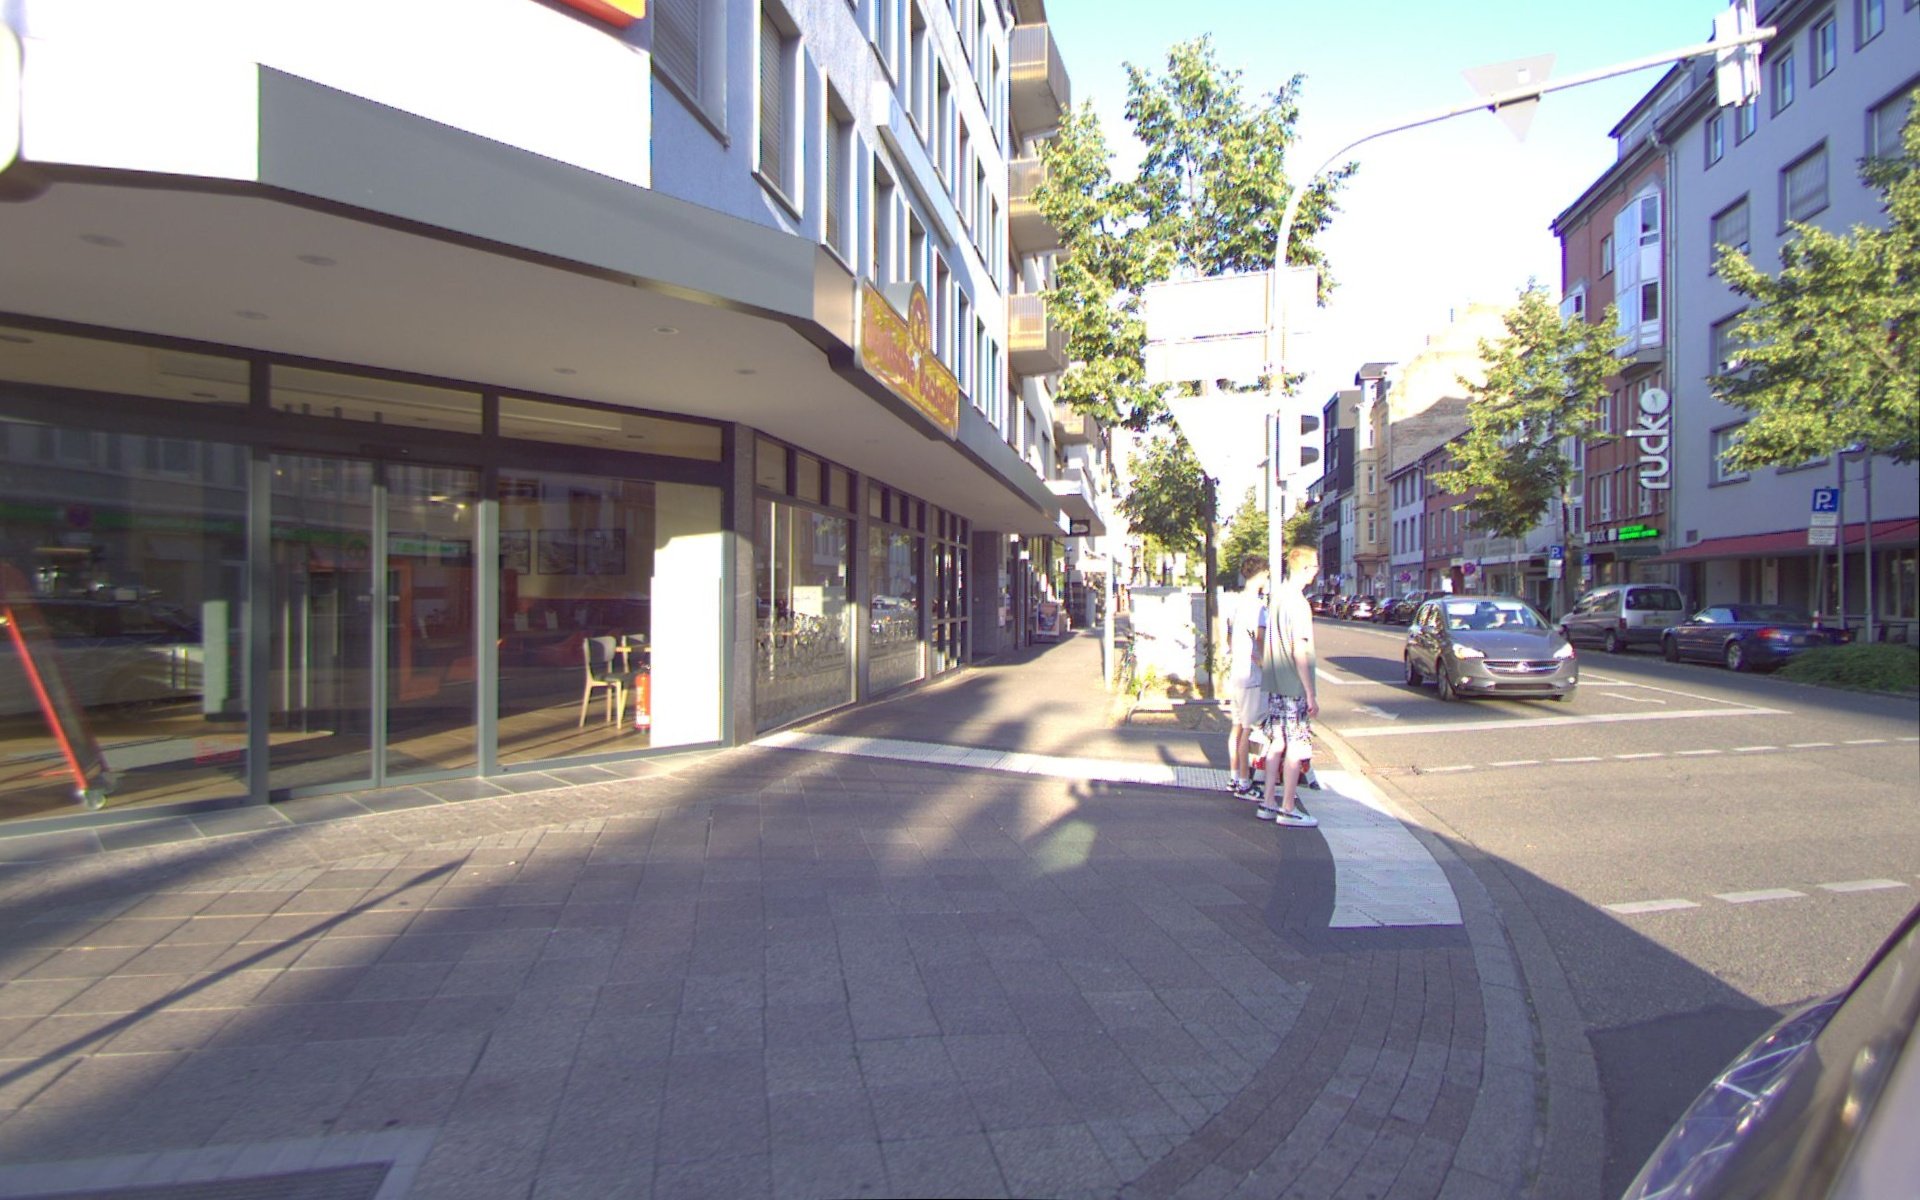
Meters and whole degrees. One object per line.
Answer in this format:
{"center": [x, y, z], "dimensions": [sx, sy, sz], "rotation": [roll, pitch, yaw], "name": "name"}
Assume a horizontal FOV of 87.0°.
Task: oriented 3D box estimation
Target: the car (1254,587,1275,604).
{"center": [32.752, -0.473, 108.932], "dimensions": [1.761, 1.795, 3.858], "rotation": [0, 0, 12], "name": "car"}

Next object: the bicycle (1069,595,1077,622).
{"center": [4.934, 0.364, 44.217], "dimensions": [0.326, 1.144, 2.008], "rotation": [0, 1, 8], "name": "bicycle"}

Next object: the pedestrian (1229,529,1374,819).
{"center": [2.251, 0.454, 6.727], "dimensions": [0.574, 1.795, 0.751], "rotation": [0, 0, -19], "name": "pedestrian"}

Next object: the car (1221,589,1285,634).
{"center": [10.026, 0.346, 34.910], "dimensions": [1.764, 1.386, 4.556], "rotation": [-1, 1, 12], "name": "car"}

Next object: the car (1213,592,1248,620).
{"center": [16.333, 0.361, 61.195], "dimensions": [1.665, 1.562, 3.721], "rotation": [-1, 1, 10], "name": "car"}

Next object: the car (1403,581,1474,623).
{"center": [22.733, 0.104, 48.269], "dimensions": [1.943, 1.908, 4.929], "rotation": [0, 0, 12], "name": "car"}

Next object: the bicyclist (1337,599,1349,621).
{"center": [23.147, 0.595, 61.129], "dimensions": [0.560, 1.319, 0.659], "rotation": [-1, 0, 11], "name": "bicyclist"}

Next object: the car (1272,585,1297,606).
{"center": [29.172, -0.421, 90.987], "dimensions": [1.739, 1.795, 3.858], "rotation": [0, 0, 12], "name": "car"}

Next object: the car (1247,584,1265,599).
{"center": [34.498, -0.988, 118.100], "dimensions": [1.739, 1.795, 3.858], "rotation": [0, 0, 12], "name": "car"}

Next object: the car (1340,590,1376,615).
{"center": [26.607, 0.144, 67.727], "dimensions": [1.661, 1.610, 3.504], "rotation": [0, 1, 12], "name": "car"}

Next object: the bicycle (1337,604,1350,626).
{"center": [23.151, 0.881, 61.134], "dimensions": [0.414, 1.252, 1.690], "rotation": [-1, 1, 9], "name": "bicycle"}

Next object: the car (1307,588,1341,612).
{"center": [27.380, -0.029, 76.226], "dimensions": [1.853, 1.698, 4.024], "rotation": [-1, 1, 12], "name": "car"}

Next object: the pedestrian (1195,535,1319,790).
{"center": [2.193, 0.435, 7.538], "dimensions": [0.626, 1.795, 0.751], "rotation": [0, 0, -8], "name": "pedestrian"}

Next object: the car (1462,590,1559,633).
{"center": [19.629, 0.363, 36.311], "dimensions": [1.776, 1.410, 4.404], "rotation": [0, 1, 11], "name": "car"}

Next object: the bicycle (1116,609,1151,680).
{"center": [2.689, 0.662, 15.783], "dimensions": [0.397, 1.023, 1.667], "rotation": [2, 0, 6], "name": "bicycle"}

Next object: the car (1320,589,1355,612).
{"center": [26.685, 0.009, 71.687], "dimensions": [1.764, 1.531, 3.766], "rotation": [0, 2, 12], "name": "car"}

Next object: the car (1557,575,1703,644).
{"center": [17.804, 0.202, 27.121], "dimensions": [1.692, 1.684, 3.991], "rotation": [-1, 1, 9], "name": "car"}

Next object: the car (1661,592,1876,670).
{"center": [16.559, 0.557, 21.031], "dimensions": [1.628, 1.370, 4.298], "rotation": [1, 1, 11], "name": "car"}

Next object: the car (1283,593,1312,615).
{"center": [27.756, 0.296, 83.349], "dimensions": [1.769, 1.635, 3.959], "rotation": [-1, 1, 12], "name": "car"}

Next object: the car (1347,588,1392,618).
{"center": [25.323, 0.165, 62.745], "dimensions": [1.848, 1.749, 4.127], "rotation": [0, 1, 12], "name": "car"}

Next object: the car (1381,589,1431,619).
{"center": [23.860, 0.204, 54.260], "dimensions": [1.710, 1.544, 3.829], "rotation": [1, 0, 12], "name": "car"}

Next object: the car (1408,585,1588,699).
{"center": [7.864, 0.525, 15.137], "dimensions": [1.565, 1.471, 3.823], "rotation": [0, 0, 16], "name": "car"}

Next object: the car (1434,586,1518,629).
{"center": [21.112, 0.274, 41.603], "dimensions": [1.868, 1.619, 4.925], "rotation": [1, 0, 13], "name": "car"}
